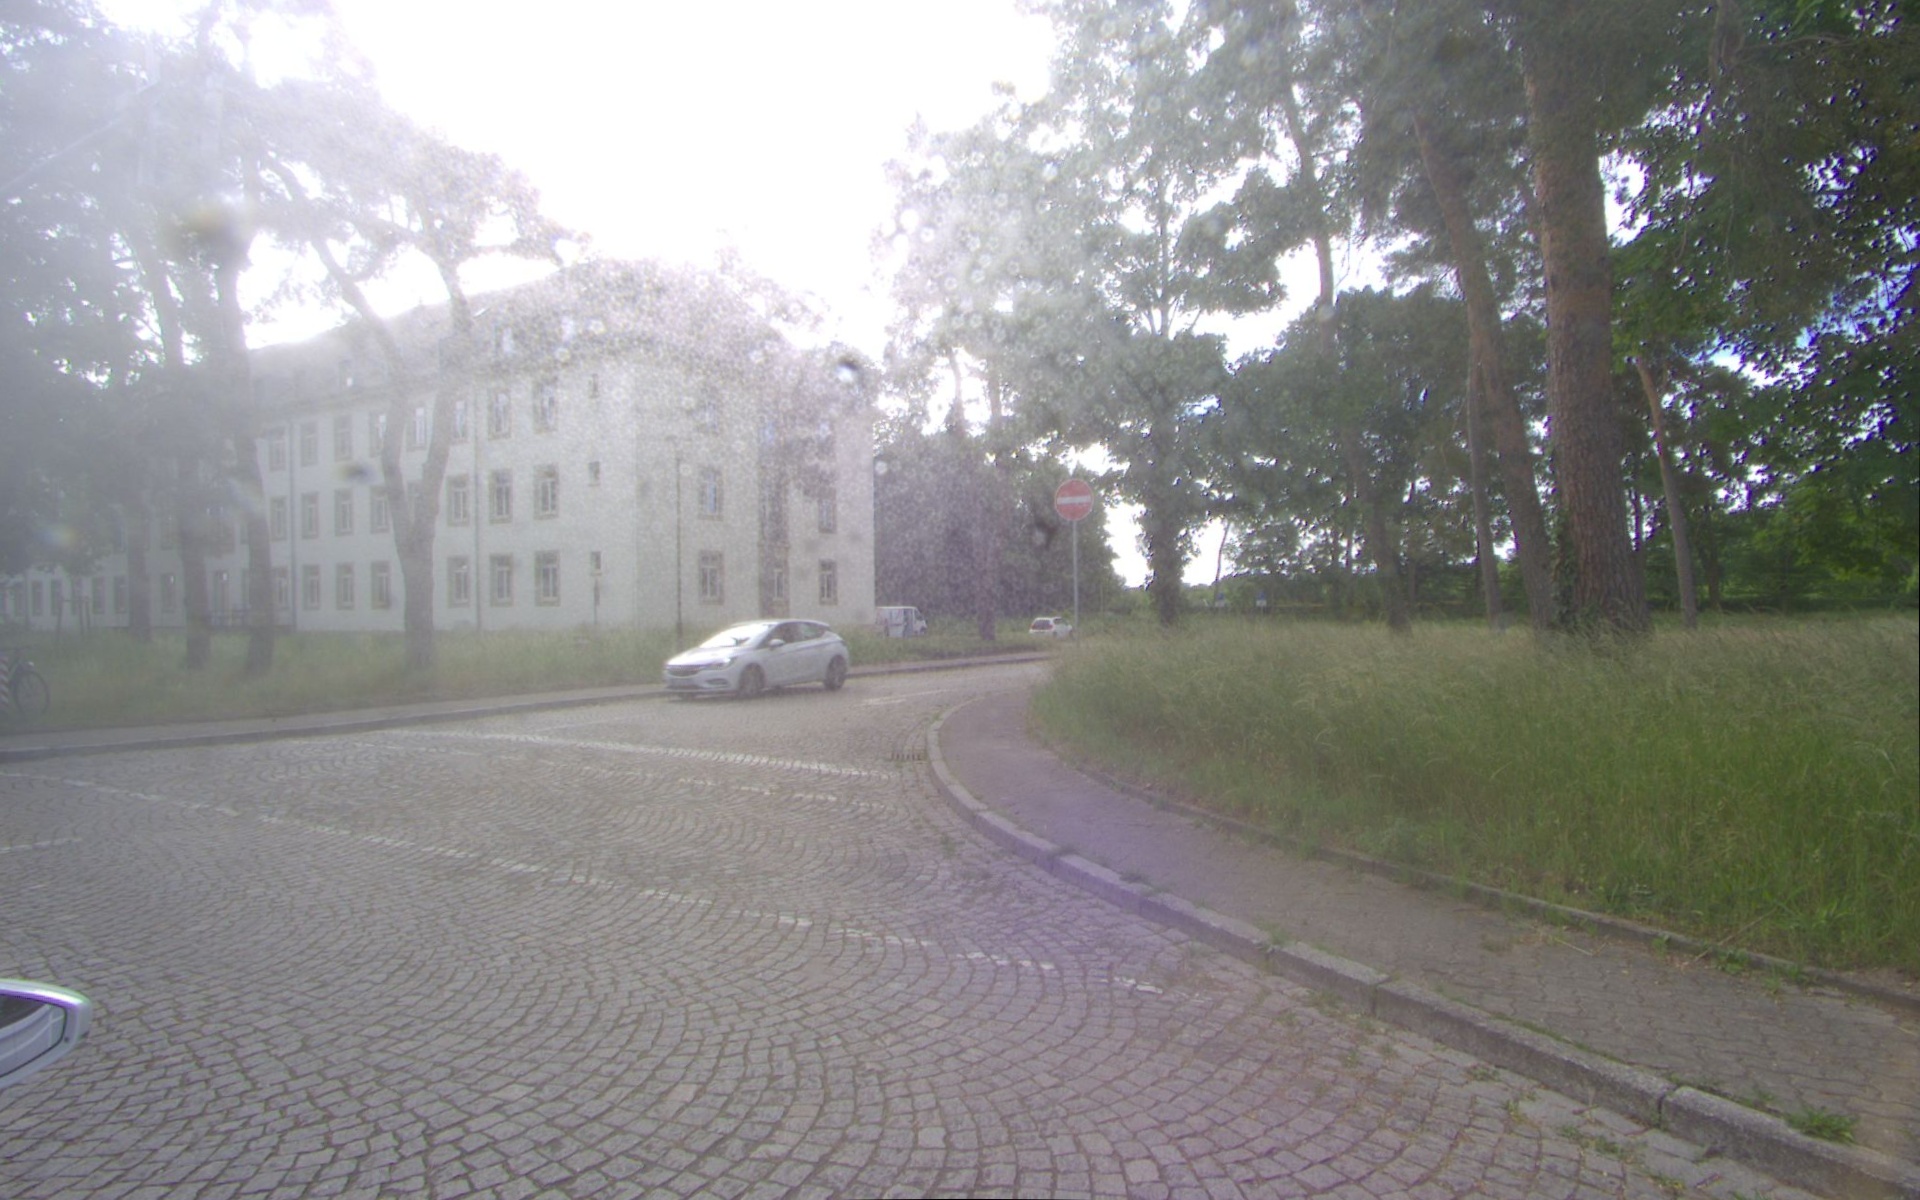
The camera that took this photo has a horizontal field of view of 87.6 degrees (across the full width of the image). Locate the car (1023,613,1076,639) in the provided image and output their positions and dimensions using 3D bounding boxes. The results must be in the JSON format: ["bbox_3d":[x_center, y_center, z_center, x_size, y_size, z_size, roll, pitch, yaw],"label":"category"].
[{"bbox_3d":[5.460,1.539,60.833,1.970,1.527,3.477,-1,-1,30],"label":"car"}]

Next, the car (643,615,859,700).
[{"bbox_3d":[-3.981,1.071,19.810,1.859,1.434,4.239,-2,-1,29],"label":"car"}]

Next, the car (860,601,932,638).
[{"bbox_3d":[-4.145,1.286,65.427,2.180,2.318,5.173,-1,-1,30],"label":"car"}]

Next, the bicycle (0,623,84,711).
[{"bbox_3d":[-13.706,0.942,14.531,1.845,1.192,0.908,-1,0,29],"label":"bicycle"}]
